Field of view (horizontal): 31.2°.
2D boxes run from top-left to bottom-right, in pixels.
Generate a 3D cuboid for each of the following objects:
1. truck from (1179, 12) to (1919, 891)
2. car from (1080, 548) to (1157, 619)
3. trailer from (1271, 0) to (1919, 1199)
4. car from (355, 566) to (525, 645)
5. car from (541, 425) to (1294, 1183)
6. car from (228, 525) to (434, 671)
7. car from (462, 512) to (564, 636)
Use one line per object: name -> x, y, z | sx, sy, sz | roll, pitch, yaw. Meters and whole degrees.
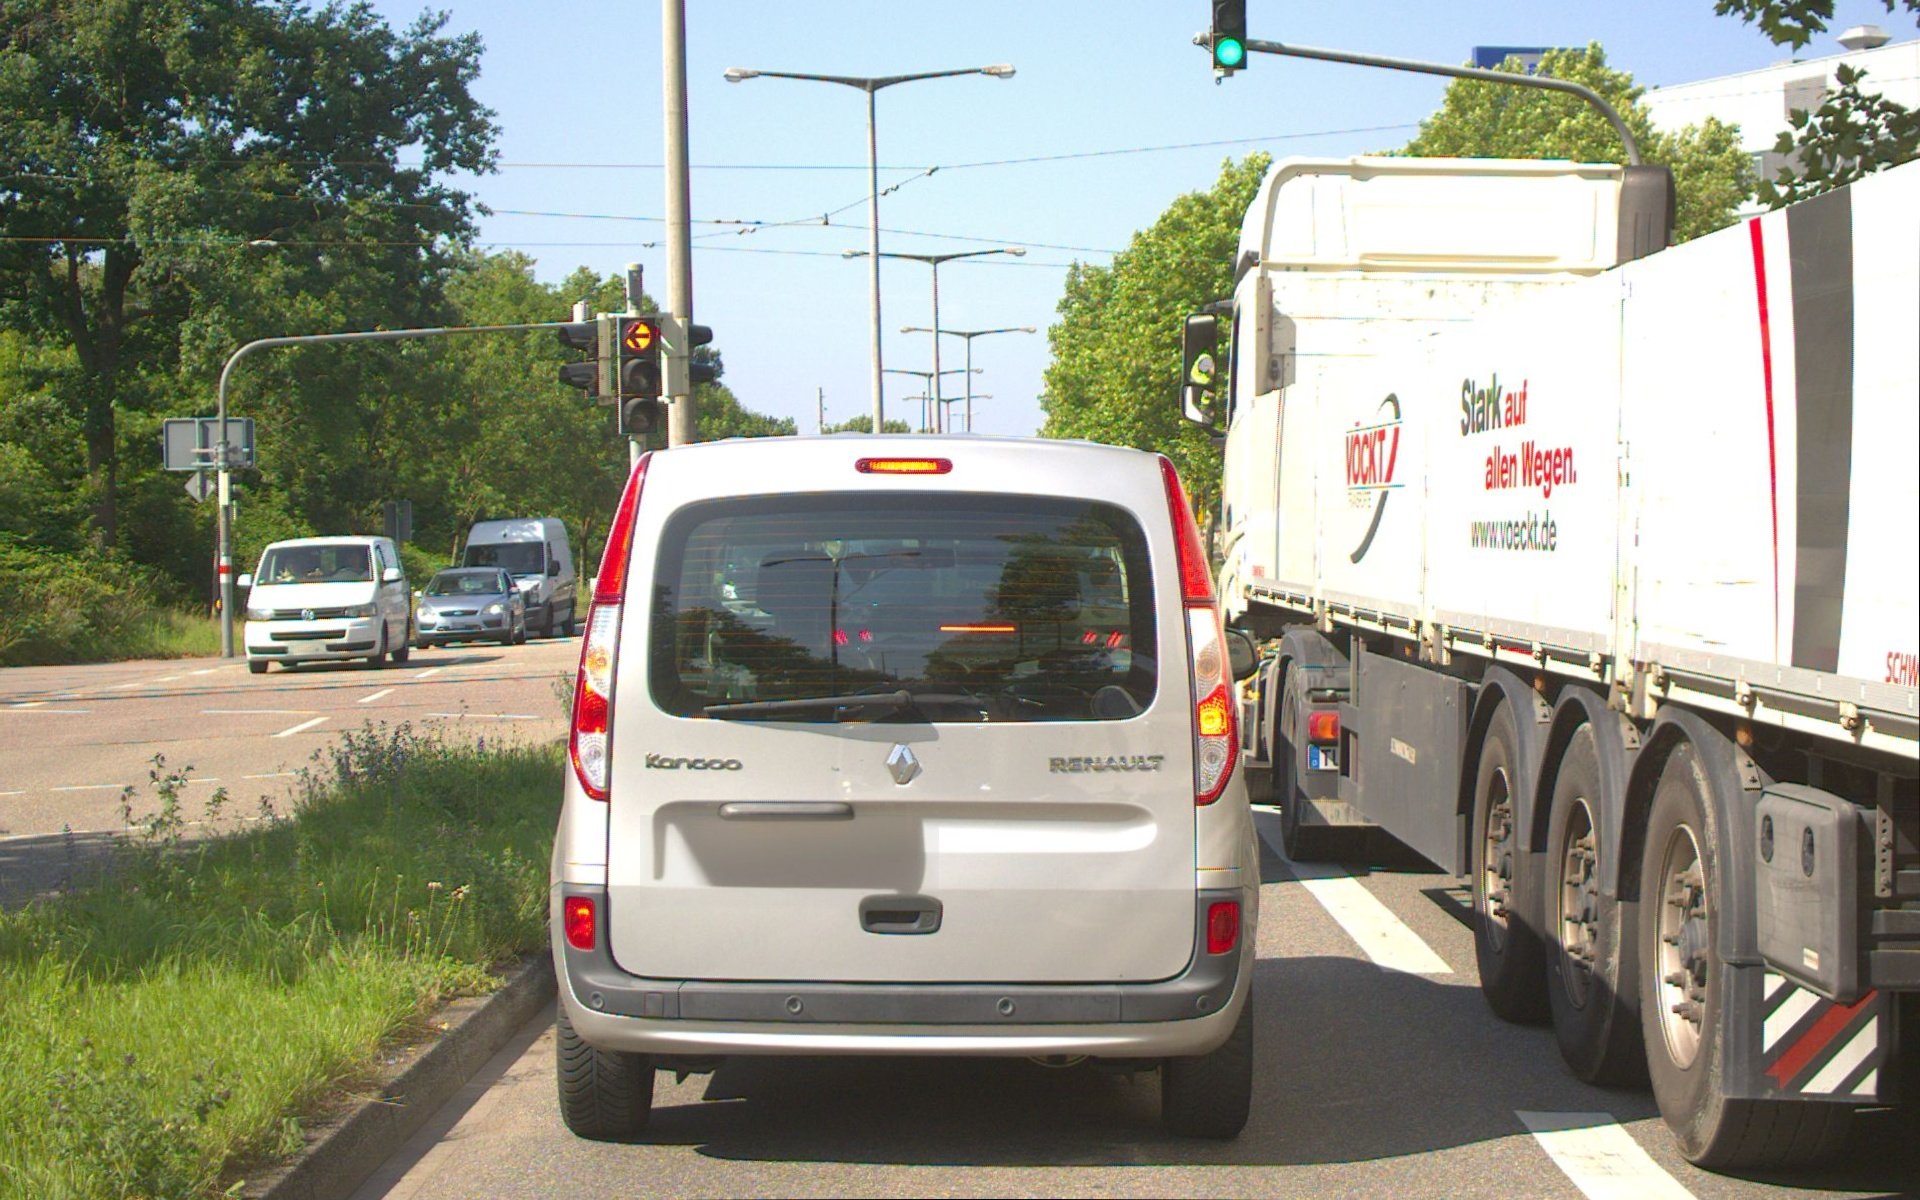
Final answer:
truck -> 2.998, -0.671, 18.422 | 3.071, 3.745, 7.476 | 0, 1, -1
car -> 4.565, -0.489, 99.579 | 1.993, 2.007, 4.000 | 0, 1, -1
trailer -> 3.031, -0.557, 11.108 | 3.016, 3.728, 12.240 | 0, 1, 0
car -> -9.735, 0.079, 64.154 | 1.911, 1.404, 4.228 | 0, 1, -27
car -> -0.109, 0.456, 9.989 | 1.749, 1.766, 3.949 | 0, 1, 0
car -> -8.924, -0.057, 49.186 | 1.993, 1.884, 4.988 | -3, 1, -1
car -> -9.762, -0.578, 75.364 | 2.058, 2.605, 5.871 | 0, 1, -6
